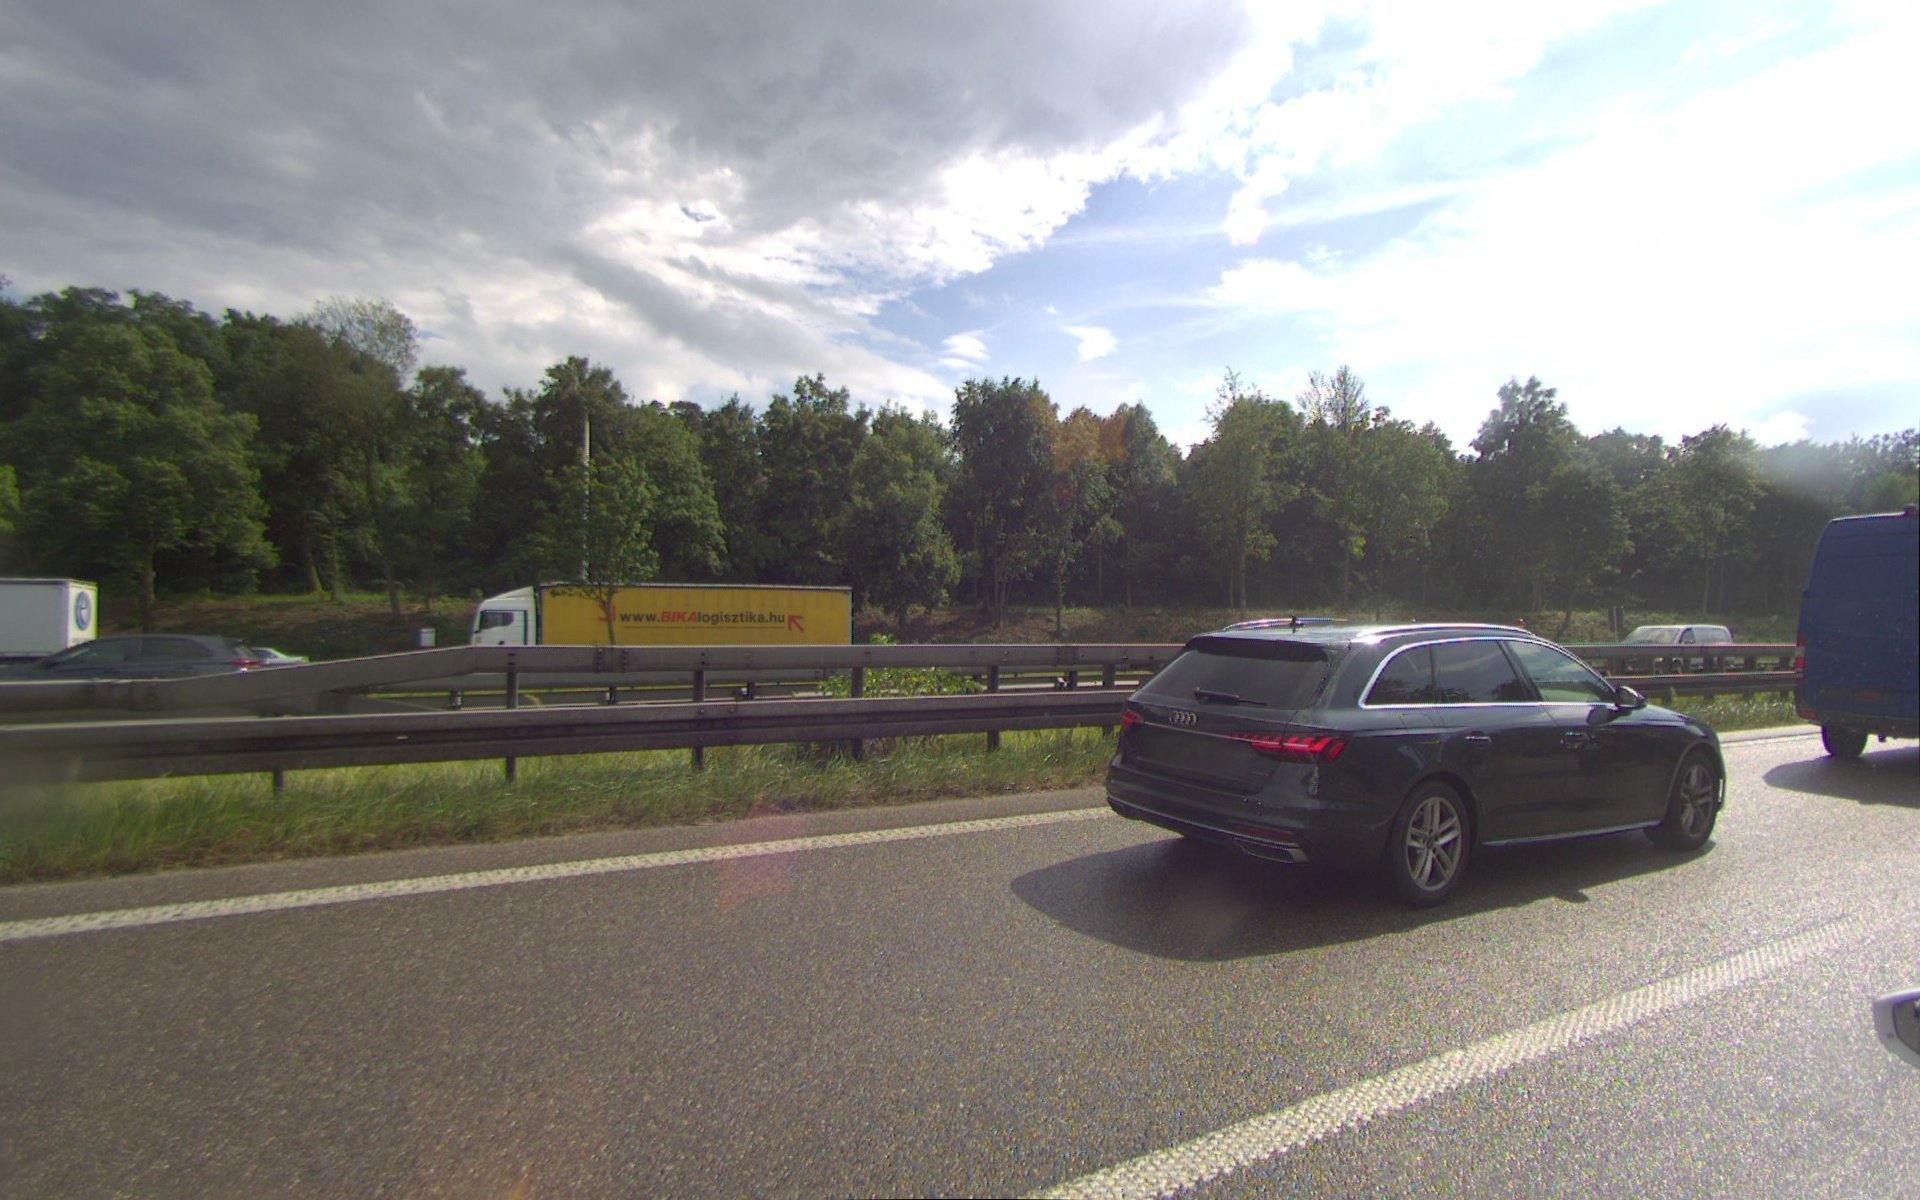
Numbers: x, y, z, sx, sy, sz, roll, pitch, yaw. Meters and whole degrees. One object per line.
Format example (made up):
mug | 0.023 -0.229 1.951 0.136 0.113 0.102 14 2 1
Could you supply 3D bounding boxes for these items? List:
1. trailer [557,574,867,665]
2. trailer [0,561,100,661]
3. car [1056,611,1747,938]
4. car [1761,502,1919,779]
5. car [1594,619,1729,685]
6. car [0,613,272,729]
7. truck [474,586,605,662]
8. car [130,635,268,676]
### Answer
trailer | -11.104 0.962 46.033 13.441 3.744 1.992 2 0 -18
trailer | -38.924 0.377 36.424 11.549 3.647 2.178 1 -2 -22
car | 2.907 0.830 6.324 4.415 1.430 1.711 1 0 -30
car | 11.640 0.450 11.429 5.708 2.684 2.006 1 0 -30
car | 23.923 1.750 34.215 4.675 2.040 1.984 2 0 -30
car | -14.239 1.124 16.701 4.449 1.768 1.858 1 -2 -30
truck | -18.215 1.050 43.750 4.995 3.139 1.974 2 0 -18
car | -30.110 2.178 39.889 3.942 1.523 1.891 1 -2 -22
